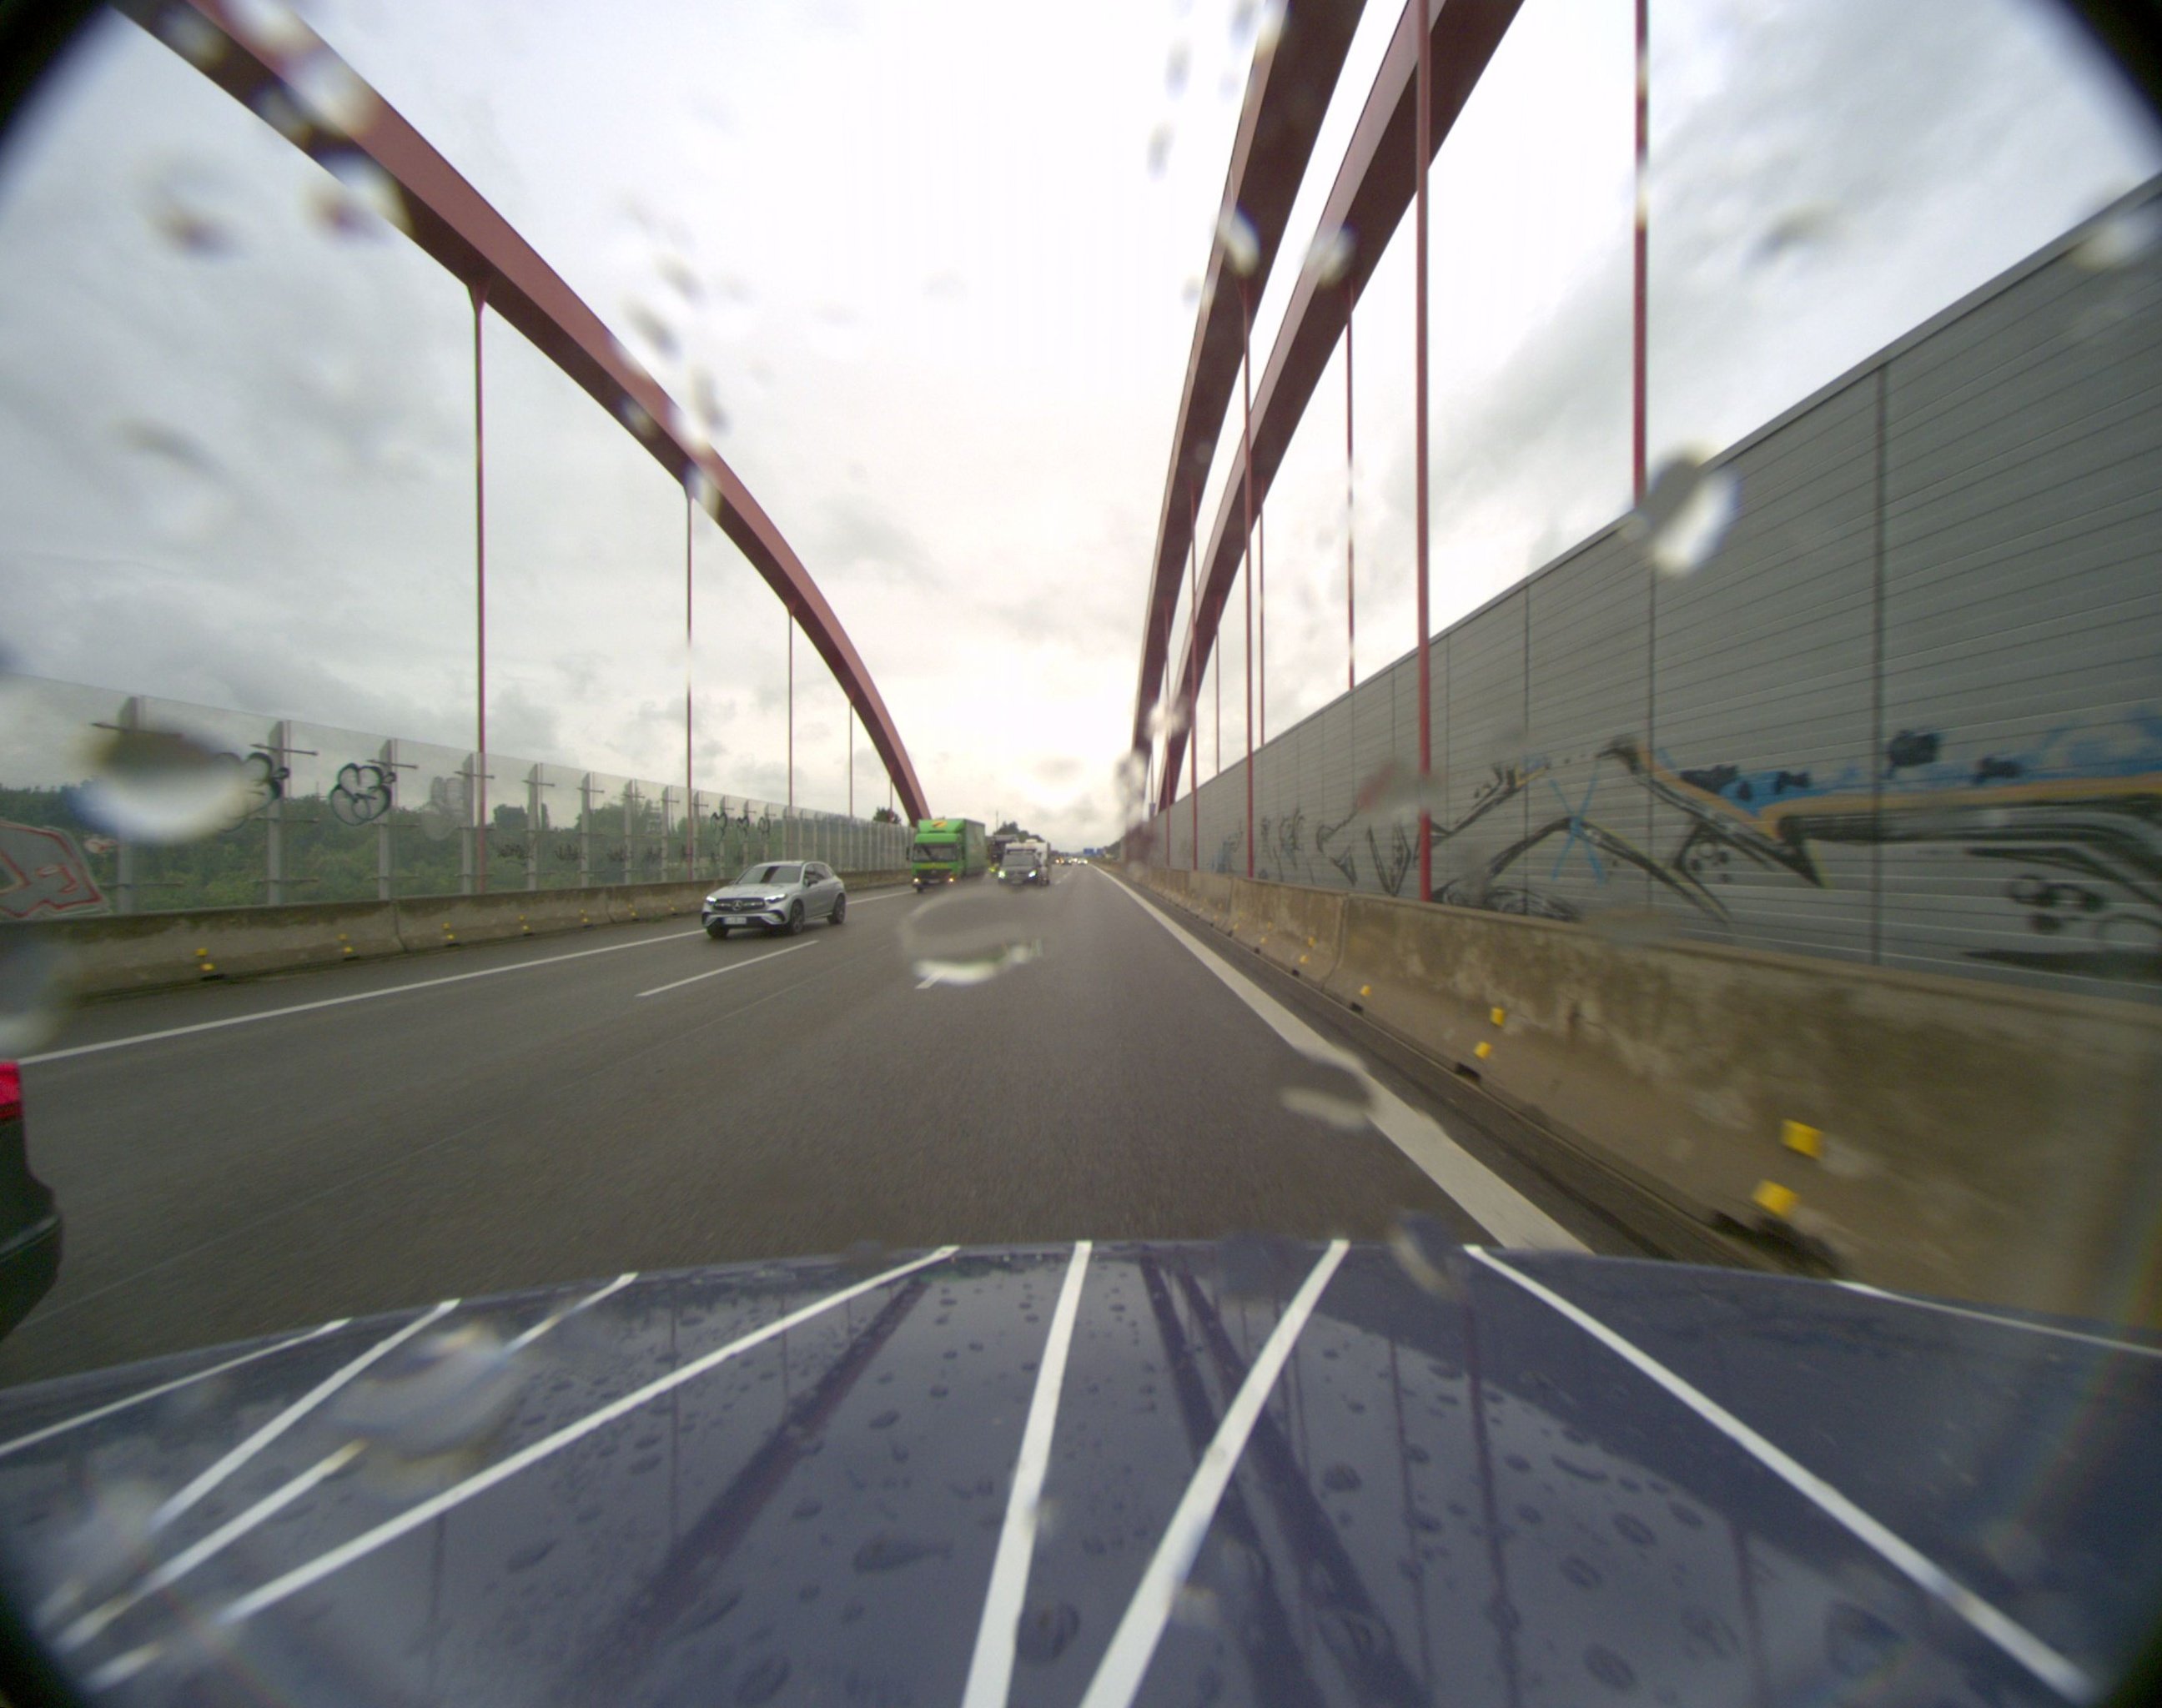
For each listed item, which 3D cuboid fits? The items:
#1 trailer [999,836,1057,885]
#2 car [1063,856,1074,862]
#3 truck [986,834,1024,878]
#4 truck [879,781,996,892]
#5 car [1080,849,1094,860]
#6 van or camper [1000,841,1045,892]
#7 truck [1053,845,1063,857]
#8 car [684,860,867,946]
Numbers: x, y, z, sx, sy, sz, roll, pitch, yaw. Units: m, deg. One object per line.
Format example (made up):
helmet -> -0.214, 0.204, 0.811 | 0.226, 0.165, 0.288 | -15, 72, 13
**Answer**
trailer -> -2.965, 0.358, 44.303 | 2.728, 2.627, 7.512 | -1, 0, 1
car -> -2.605, 1.027, 157.781 | 2.061, 1.020, 3.437 | -2, 0, -1
truck -> -7.168, 0.156, 73.359 | 2.820, 3.927, 12.710 | 0, 0, -2
truck -> -7.571, -0.880, 42.355 | 4.007, 5.235, 11.219 | -2, 0, 1
car -> 1.218, 0.125, 159.653 | 2.680, 2.340, 5.807 | -1, 0, -3
van or camper -> -2.826, 0.571, 37.700 | 1.895, 2.256, 5.678 | -2, 0, -2
truck -> -6.268, -0.727, 209.991 | 2.617, 3.218, 4.632 | -1, 0, -1
car -> -6.996, 1.016, 18.185 | 1.998, 1.610, 5.328 | -2, 0, 2
